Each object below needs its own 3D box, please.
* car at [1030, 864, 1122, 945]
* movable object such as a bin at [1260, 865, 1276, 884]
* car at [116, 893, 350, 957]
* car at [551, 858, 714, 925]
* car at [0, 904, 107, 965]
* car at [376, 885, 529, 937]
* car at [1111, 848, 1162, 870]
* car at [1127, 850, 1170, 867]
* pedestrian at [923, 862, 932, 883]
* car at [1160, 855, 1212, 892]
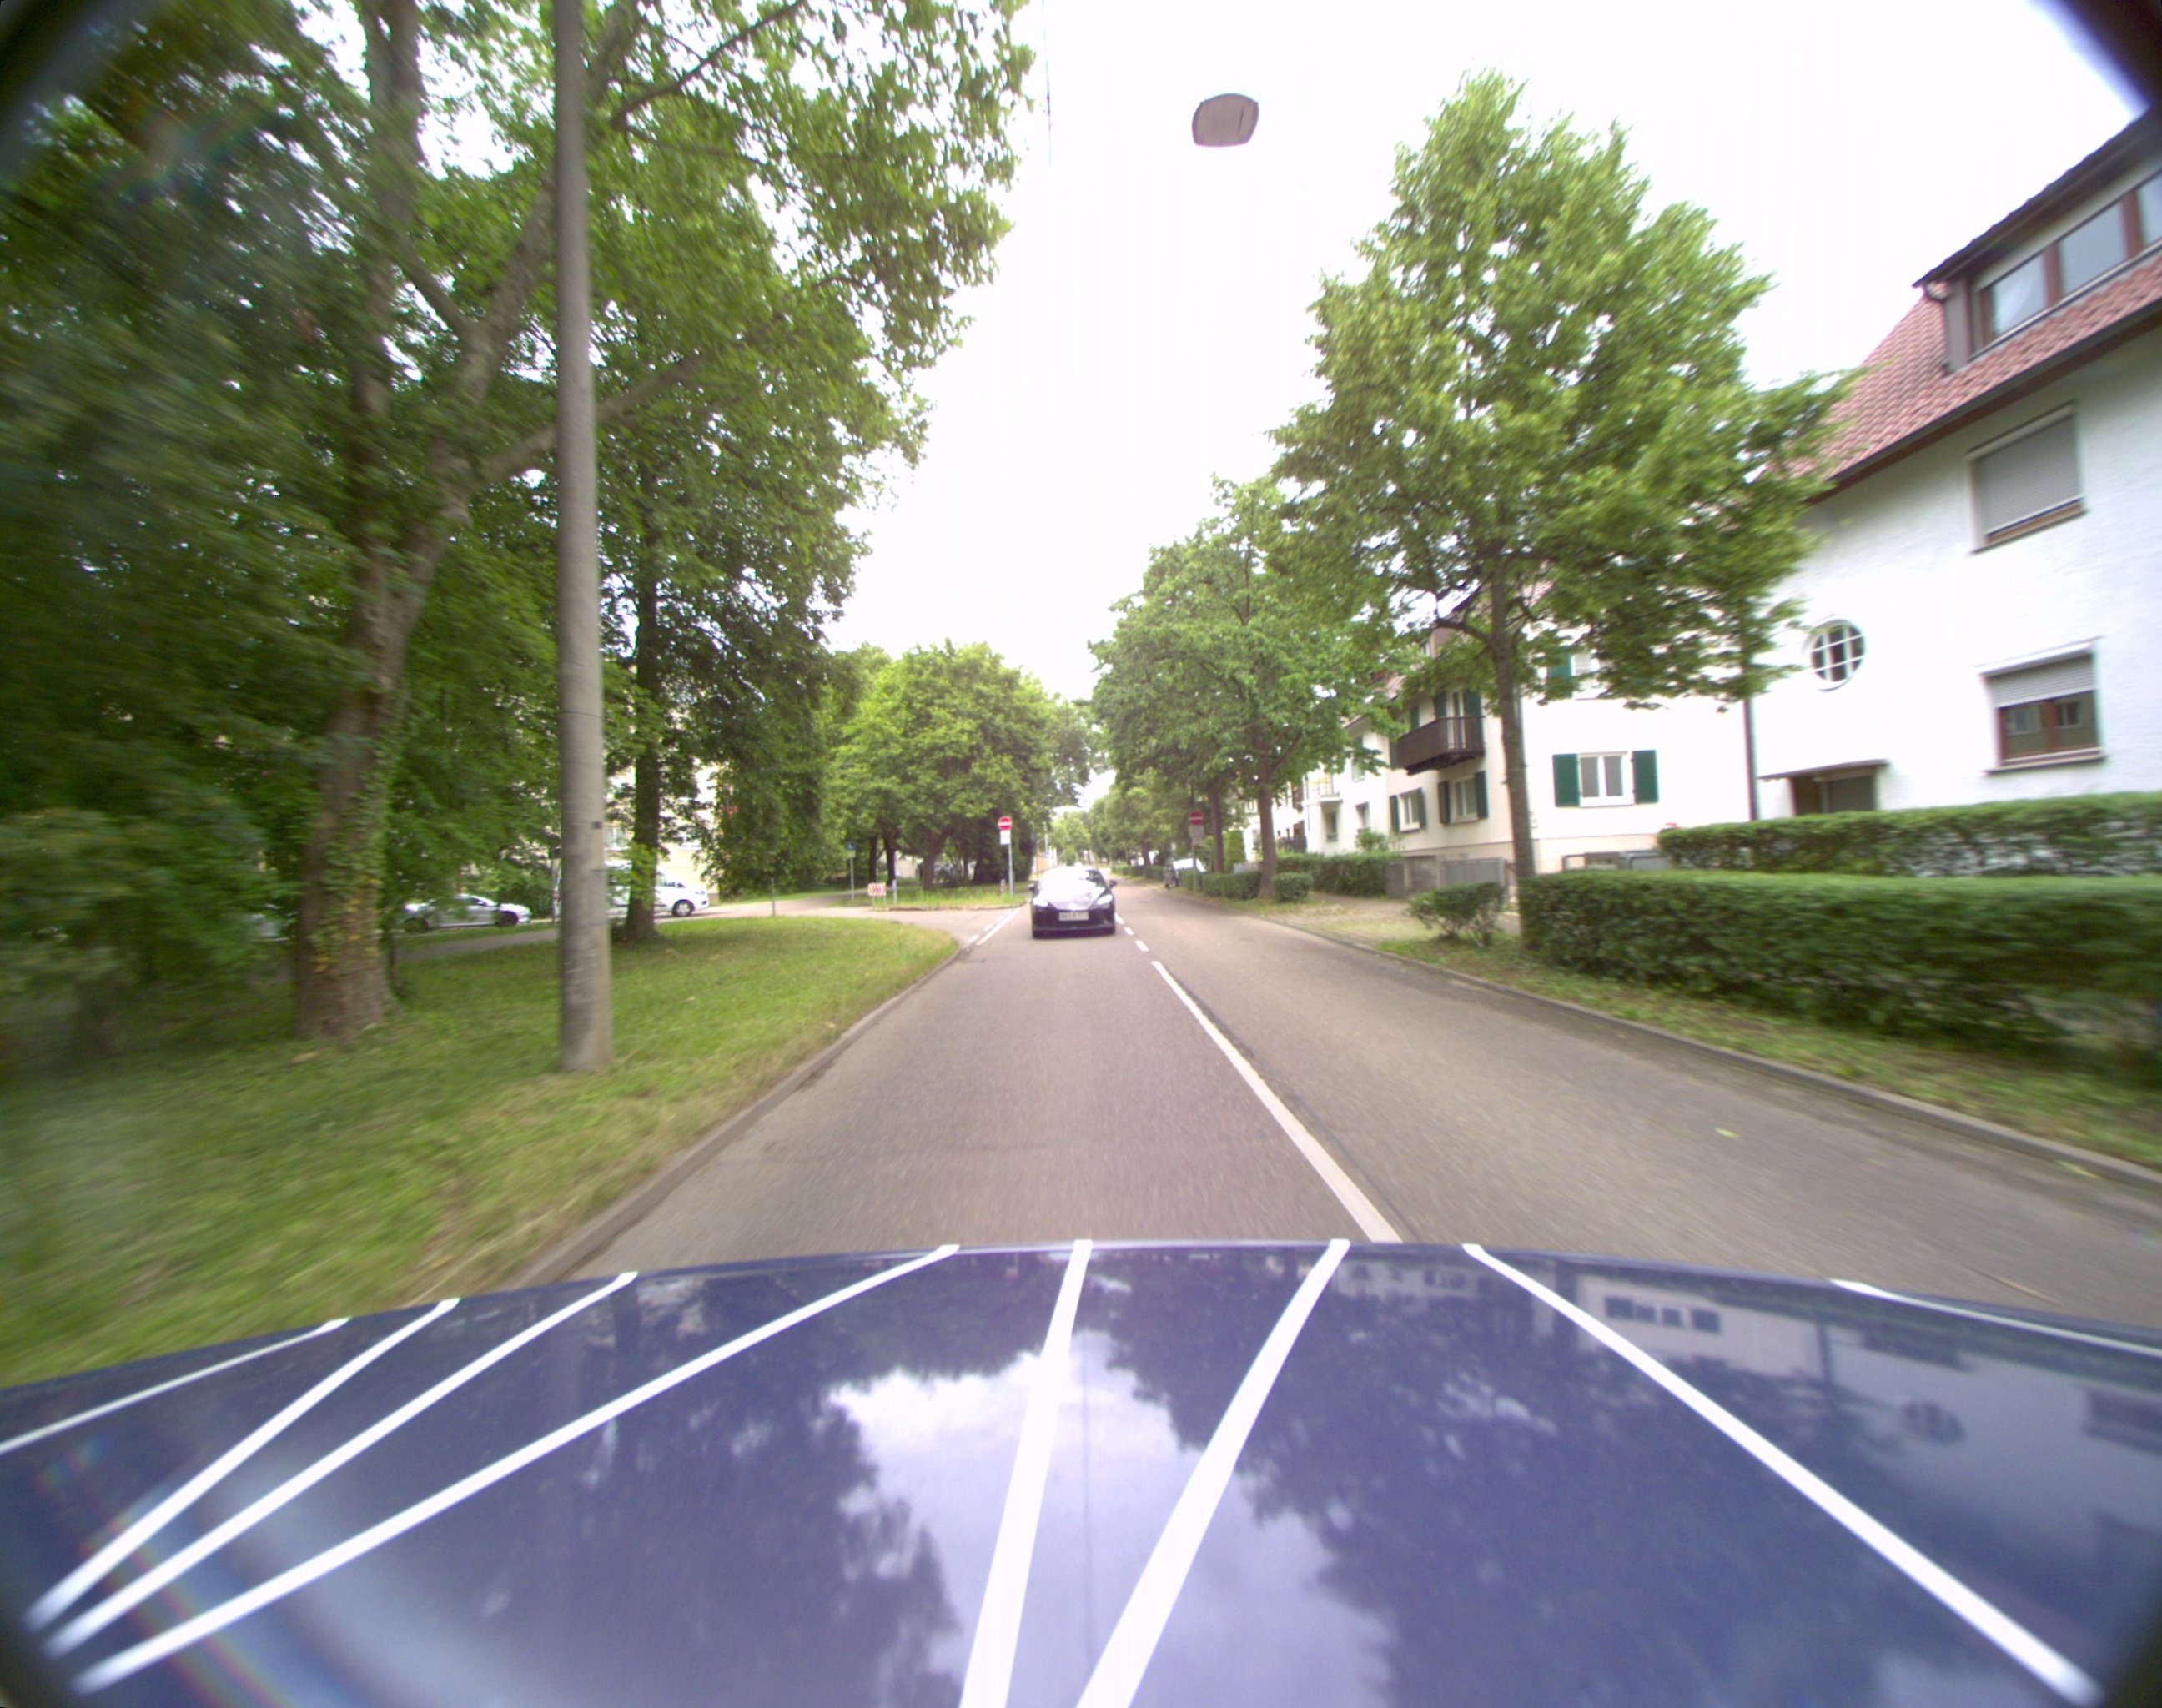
[{"bbox_3d":[-0.104,1.064,17.790,1.799,1.552,4.471,-3,0,0],"label":"car"},{"bbox_3d":[9.355,1.006,37.940,0.561,0.935,0.640,-2,0,-6],"label":"movable object such as a bin"},{"bbox_3d":[-25.621,2.089,23.258,4.613,1.501,1.795,-2,-1,-45],"label":"car"},{"bbox_3d":[-17.707,1.432,30.195,5.335,2.285,2.287,-2,-1,-33],"label":"car"},{"bbox_3d":[-29.106,2.200,20.060,1.795,1.501,4.008,-3,-1,43],"label":"car"},{"bbox_3d":[-21.999,1.956,26.781,4.007,1.501,1.796,-2,-1,-39],"label":"car"},{"bbox_3d":[8.915,0.753,122.873,7.775,3.256,2.440,-2,0,18],"label":"car"},{"bbox_3d":[10.321,0.686,116.308,6.377,2.333,1.973,-2,0,-23],"label":"car"},{"bbox_3d":[-12.802,1.538,63.445,0.650,1.651,0.649,-2,0,-11],"label":"pedestrian"},{"bbox_3d":[5.536,1.025,40.565,1.830,1.743,4.452,-3,-1,-4],"label":"car"}]
